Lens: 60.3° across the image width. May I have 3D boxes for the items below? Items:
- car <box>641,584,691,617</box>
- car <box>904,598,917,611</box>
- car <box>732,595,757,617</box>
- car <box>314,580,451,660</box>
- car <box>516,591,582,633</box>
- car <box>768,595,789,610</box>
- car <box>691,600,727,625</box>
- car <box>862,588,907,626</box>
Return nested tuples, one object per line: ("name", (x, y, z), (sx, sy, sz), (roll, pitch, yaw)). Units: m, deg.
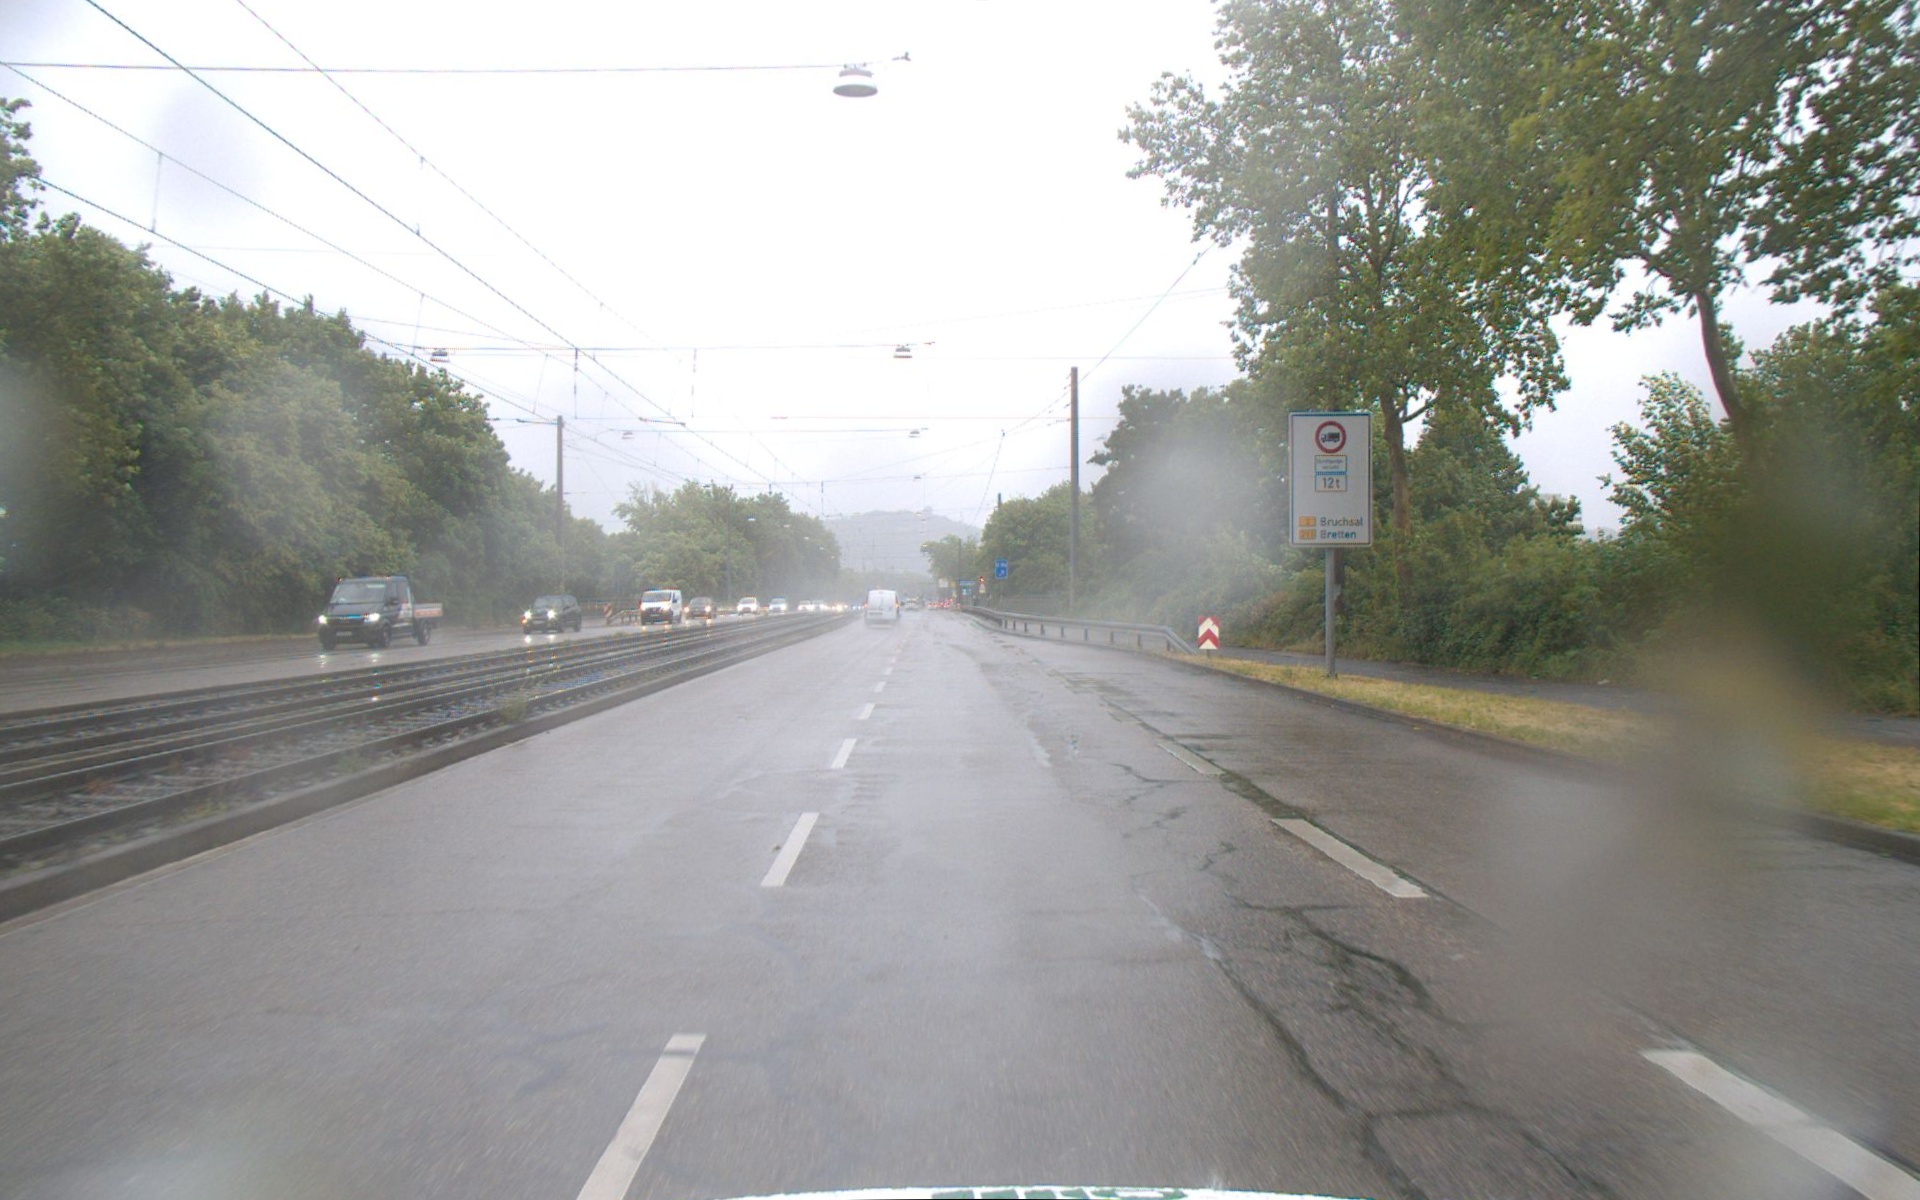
("car", (-17.418, -0.002, 98.316), (1.998, 1.806, 4.986), (1, 1, 1))
("car", (-6.577, 0.604, 221.687), (1.708, 1.534, 3.699), (1, 1, -2))
("car", (-18.910, 0.505, 145.056), (1.719, 1.741, 3.999), (1, 1, -2))
("car", (-18.956, 0.571, 54.709), (2.056, 2.383, 6.990), (1, 1, 0))
("car", (-18.506, 0.531, 74.626), (1.803, 1.746, 4.164), (1, 1, 2))
("car", (-18.896, 0.278, 172.216), (1.761, 1.478, 4.194), (1, 1, -1))
("car", (-17.494, 0.866, 115.324), (1.654, 1.545, 4.613), (1, 1, 2))
("car", (-3.627, 0.320, 79.802), (1.948, 1.713, 3.740), (1, 1, 0))
